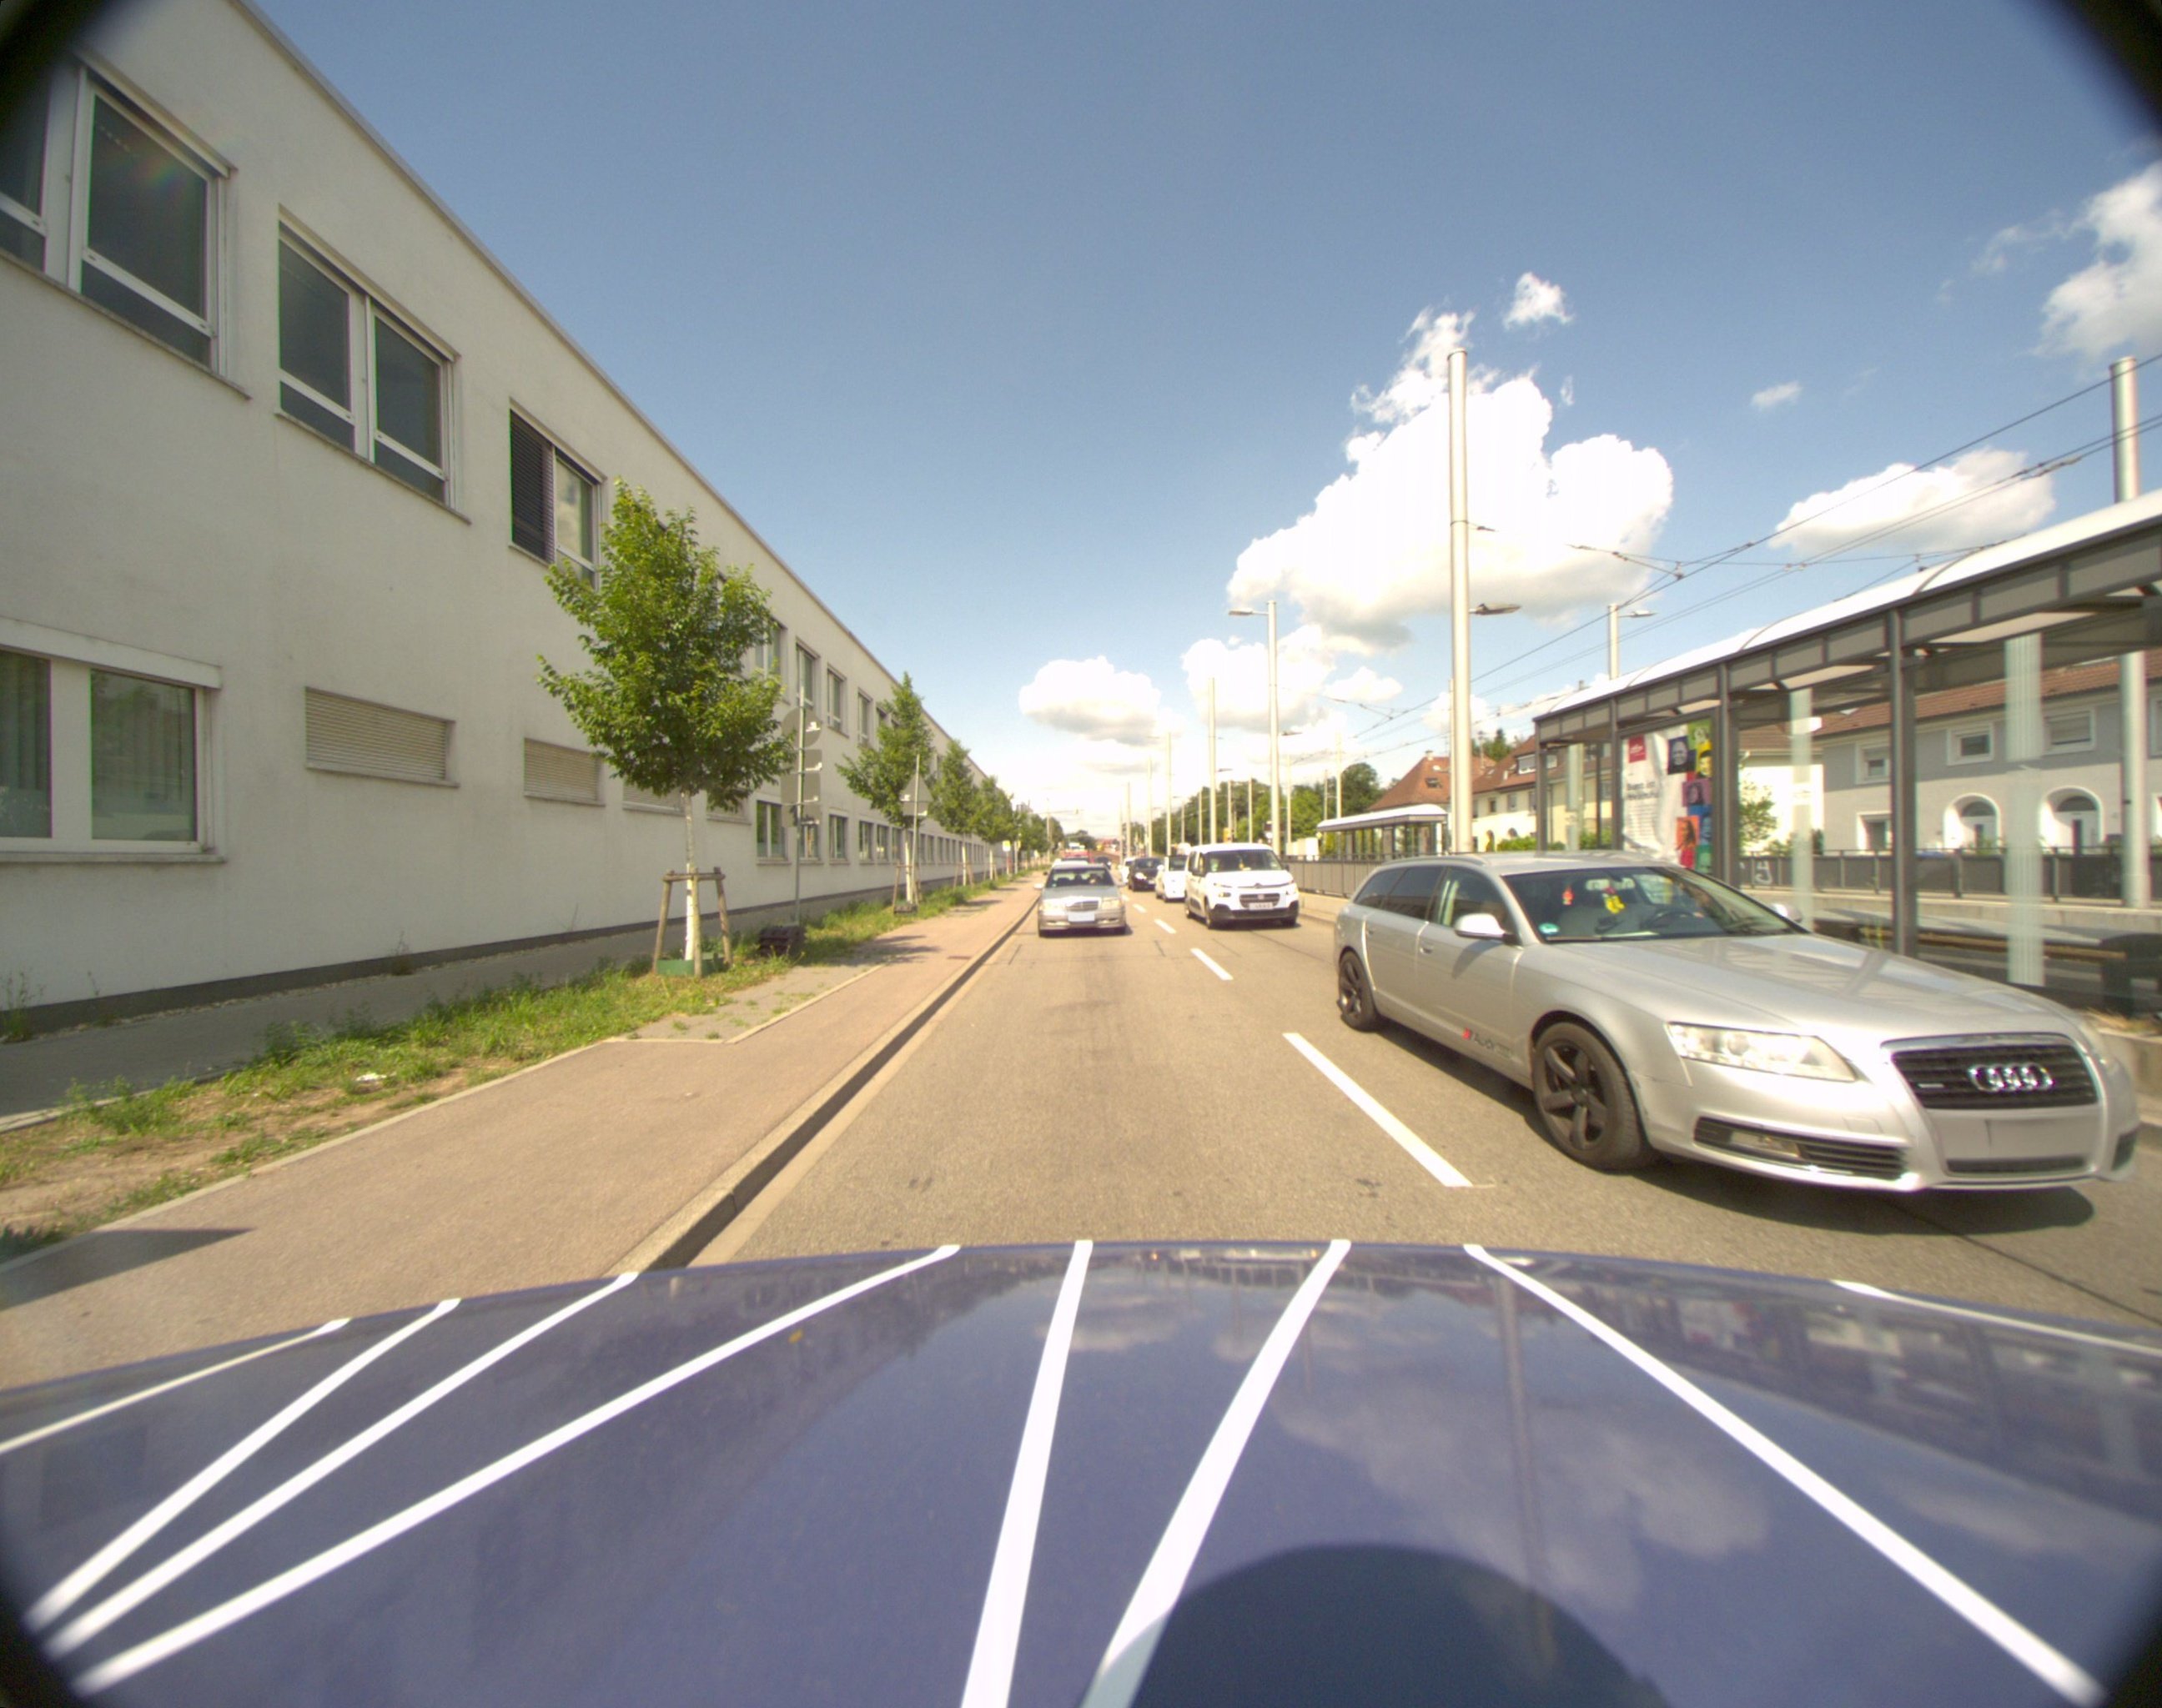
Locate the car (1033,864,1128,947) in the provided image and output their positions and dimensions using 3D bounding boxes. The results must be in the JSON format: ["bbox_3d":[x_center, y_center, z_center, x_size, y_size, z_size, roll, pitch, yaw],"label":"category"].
[{"bbox_3d":[-0.020,0.994,16.439,1.725,1.389,4.462,-2,1,0],"label":"car"}]

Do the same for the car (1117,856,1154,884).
[{"bbox_3d":[3.027,0.852,42.755,1.698,1.350,4.498,-2,1,0],"label":"car"}]

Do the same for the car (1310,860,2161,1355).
[{"bbox_3d":[3.105,0.843,4.831,1.799,1.463,4.721,-2,1,0],"label":"car"}]

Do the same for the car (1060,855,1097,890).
[{"bbox_3d":[-0.125,0.869,37.900,1.664,1.529,3.999,-2,1,0],"label":"car"}]

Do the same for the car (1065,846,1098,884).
[{"bbox_3d":[0.013,0.602,46.870,1.787,2.134,5.168,-2,1,0],"label":"car"}]

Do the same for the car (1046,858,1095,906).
[{"bbox_3d":[-0.379,0.983,28.484,1.664,1.564,3.999,-2,1,0],"label":"car"}]

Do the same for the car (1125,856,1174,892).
[{"bbox_3d":[2.980,0.824,33.553,1.680,1.414,3.558,-2,1,-2],"label":"car"}]

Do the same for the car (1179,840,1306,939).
[{"bbox_3d":[3.367,0.659,16.647,1.799,1.804,4.329,-2,1,0],"label":"car"}]

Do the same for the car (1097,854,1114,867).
[{"bbox_3d":[2.773,0.752,87.263,1.698,1.350,4.498,-2,1,0],"label":"car"}]

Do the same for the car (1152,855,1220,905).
[{"bbox_3d":[3.466,0.819,25.688,1.680,1.495,3.393,-2,0,-2],"label":"car"}]
